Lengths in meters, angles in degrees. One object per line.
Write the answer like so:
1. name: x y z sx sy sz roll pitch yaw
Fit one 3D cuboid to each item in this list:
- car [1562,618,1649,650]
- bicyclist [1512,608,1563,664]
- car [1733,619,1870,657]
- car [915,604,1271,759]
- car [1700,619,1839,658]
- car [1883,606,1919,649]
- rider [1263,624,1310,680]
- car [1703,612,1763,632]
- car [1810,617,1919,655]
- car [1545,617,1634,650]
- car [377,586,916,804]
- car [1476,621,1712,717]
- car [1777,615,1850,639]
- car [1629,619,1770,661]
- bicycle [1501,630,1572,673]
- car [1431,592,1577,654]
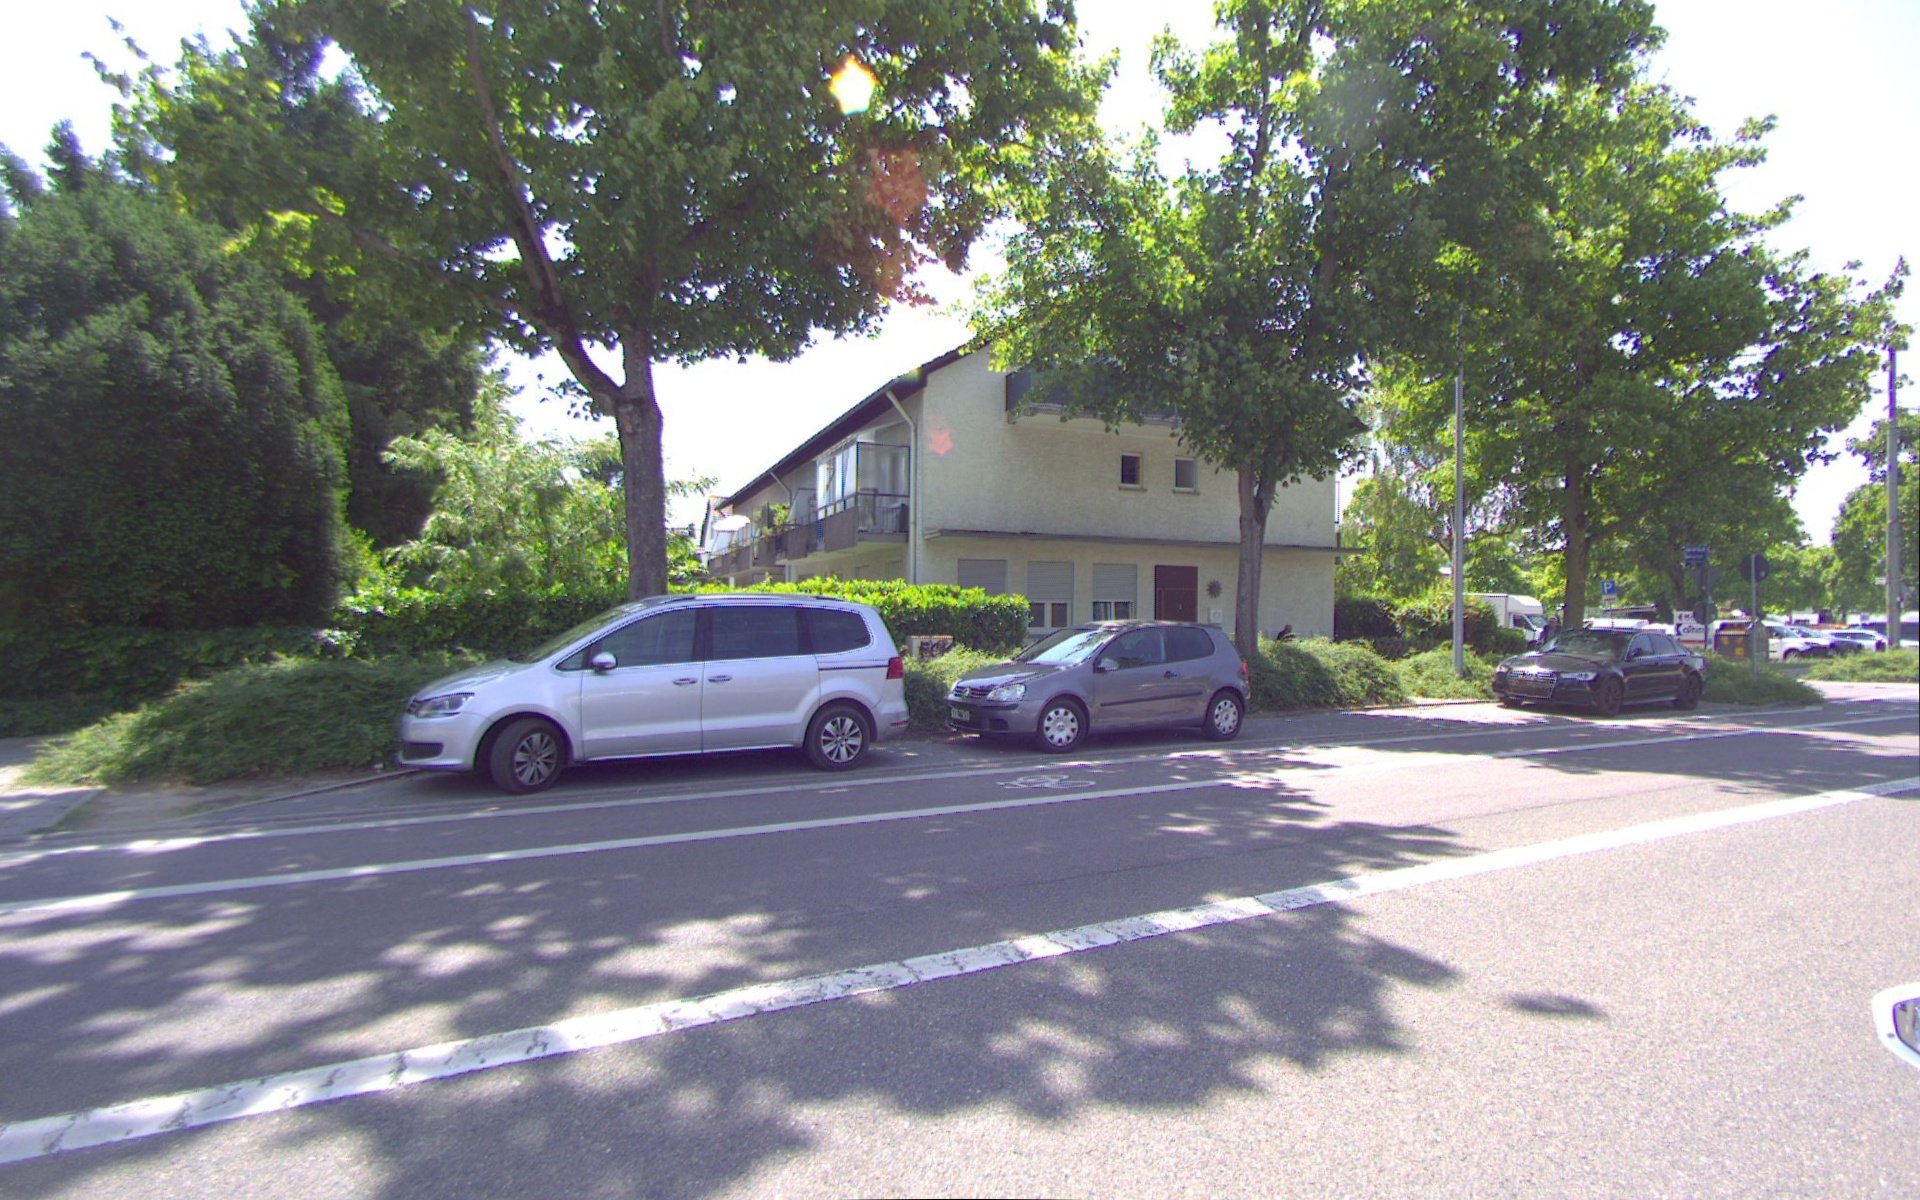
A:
1. car: 38.476 2.006 59.978 1.799 1.675 3.957 2 1 -37
2. bicyclist: 15.034 0.933 26.155 0.817 1.392 0.806 2 1 -27
3. car: 37.380 1.659 44.769 1.886 1.606 4.333 1 -1 -23
4. car: 1.689 0.895 12.421 4.132 1.585 1.809 1 1 -31
5. car: 34.942 1.617 43.471 1.886 1.606 4.332 1 -1 -24
6. car: 53.322 1.564 53.884 2.349 2.274 5.076 2 1 -28
7. rider: 8.389 1.328 25.834 0.800 1.392 0.824 1 -1 -22
8. car: 71.531 2.031 93.038 1.794 1.638 4.003 2 1 -28
9. car: 44.204 1.724 48.827 1.975 1.769 3.968 1 -1 -30
10. car: 36.593 1.943 58.464 1.799 1.675 3.957 2 1 -37
11. car: -2.949 0.756 9.818 4.725 1.687 1.863 1 0 -31
12. car: 11.575 1.175 18.270 4.397 1.496 1.809 1 1 -31
13. car: 67.394 2.098 79.388 1.795 1.638 4.000 2 1 -30
14. car: 30.402 1.606 41.447 1.891 1.606 4.321 1 -1 -31
15. bicycle: 15.014 1.342 26.151 1.805 1.043 0.698 2 1 -27
16. car: 29.801 1.200 55.346 2.337 3.005 6.816 2 1 -30
